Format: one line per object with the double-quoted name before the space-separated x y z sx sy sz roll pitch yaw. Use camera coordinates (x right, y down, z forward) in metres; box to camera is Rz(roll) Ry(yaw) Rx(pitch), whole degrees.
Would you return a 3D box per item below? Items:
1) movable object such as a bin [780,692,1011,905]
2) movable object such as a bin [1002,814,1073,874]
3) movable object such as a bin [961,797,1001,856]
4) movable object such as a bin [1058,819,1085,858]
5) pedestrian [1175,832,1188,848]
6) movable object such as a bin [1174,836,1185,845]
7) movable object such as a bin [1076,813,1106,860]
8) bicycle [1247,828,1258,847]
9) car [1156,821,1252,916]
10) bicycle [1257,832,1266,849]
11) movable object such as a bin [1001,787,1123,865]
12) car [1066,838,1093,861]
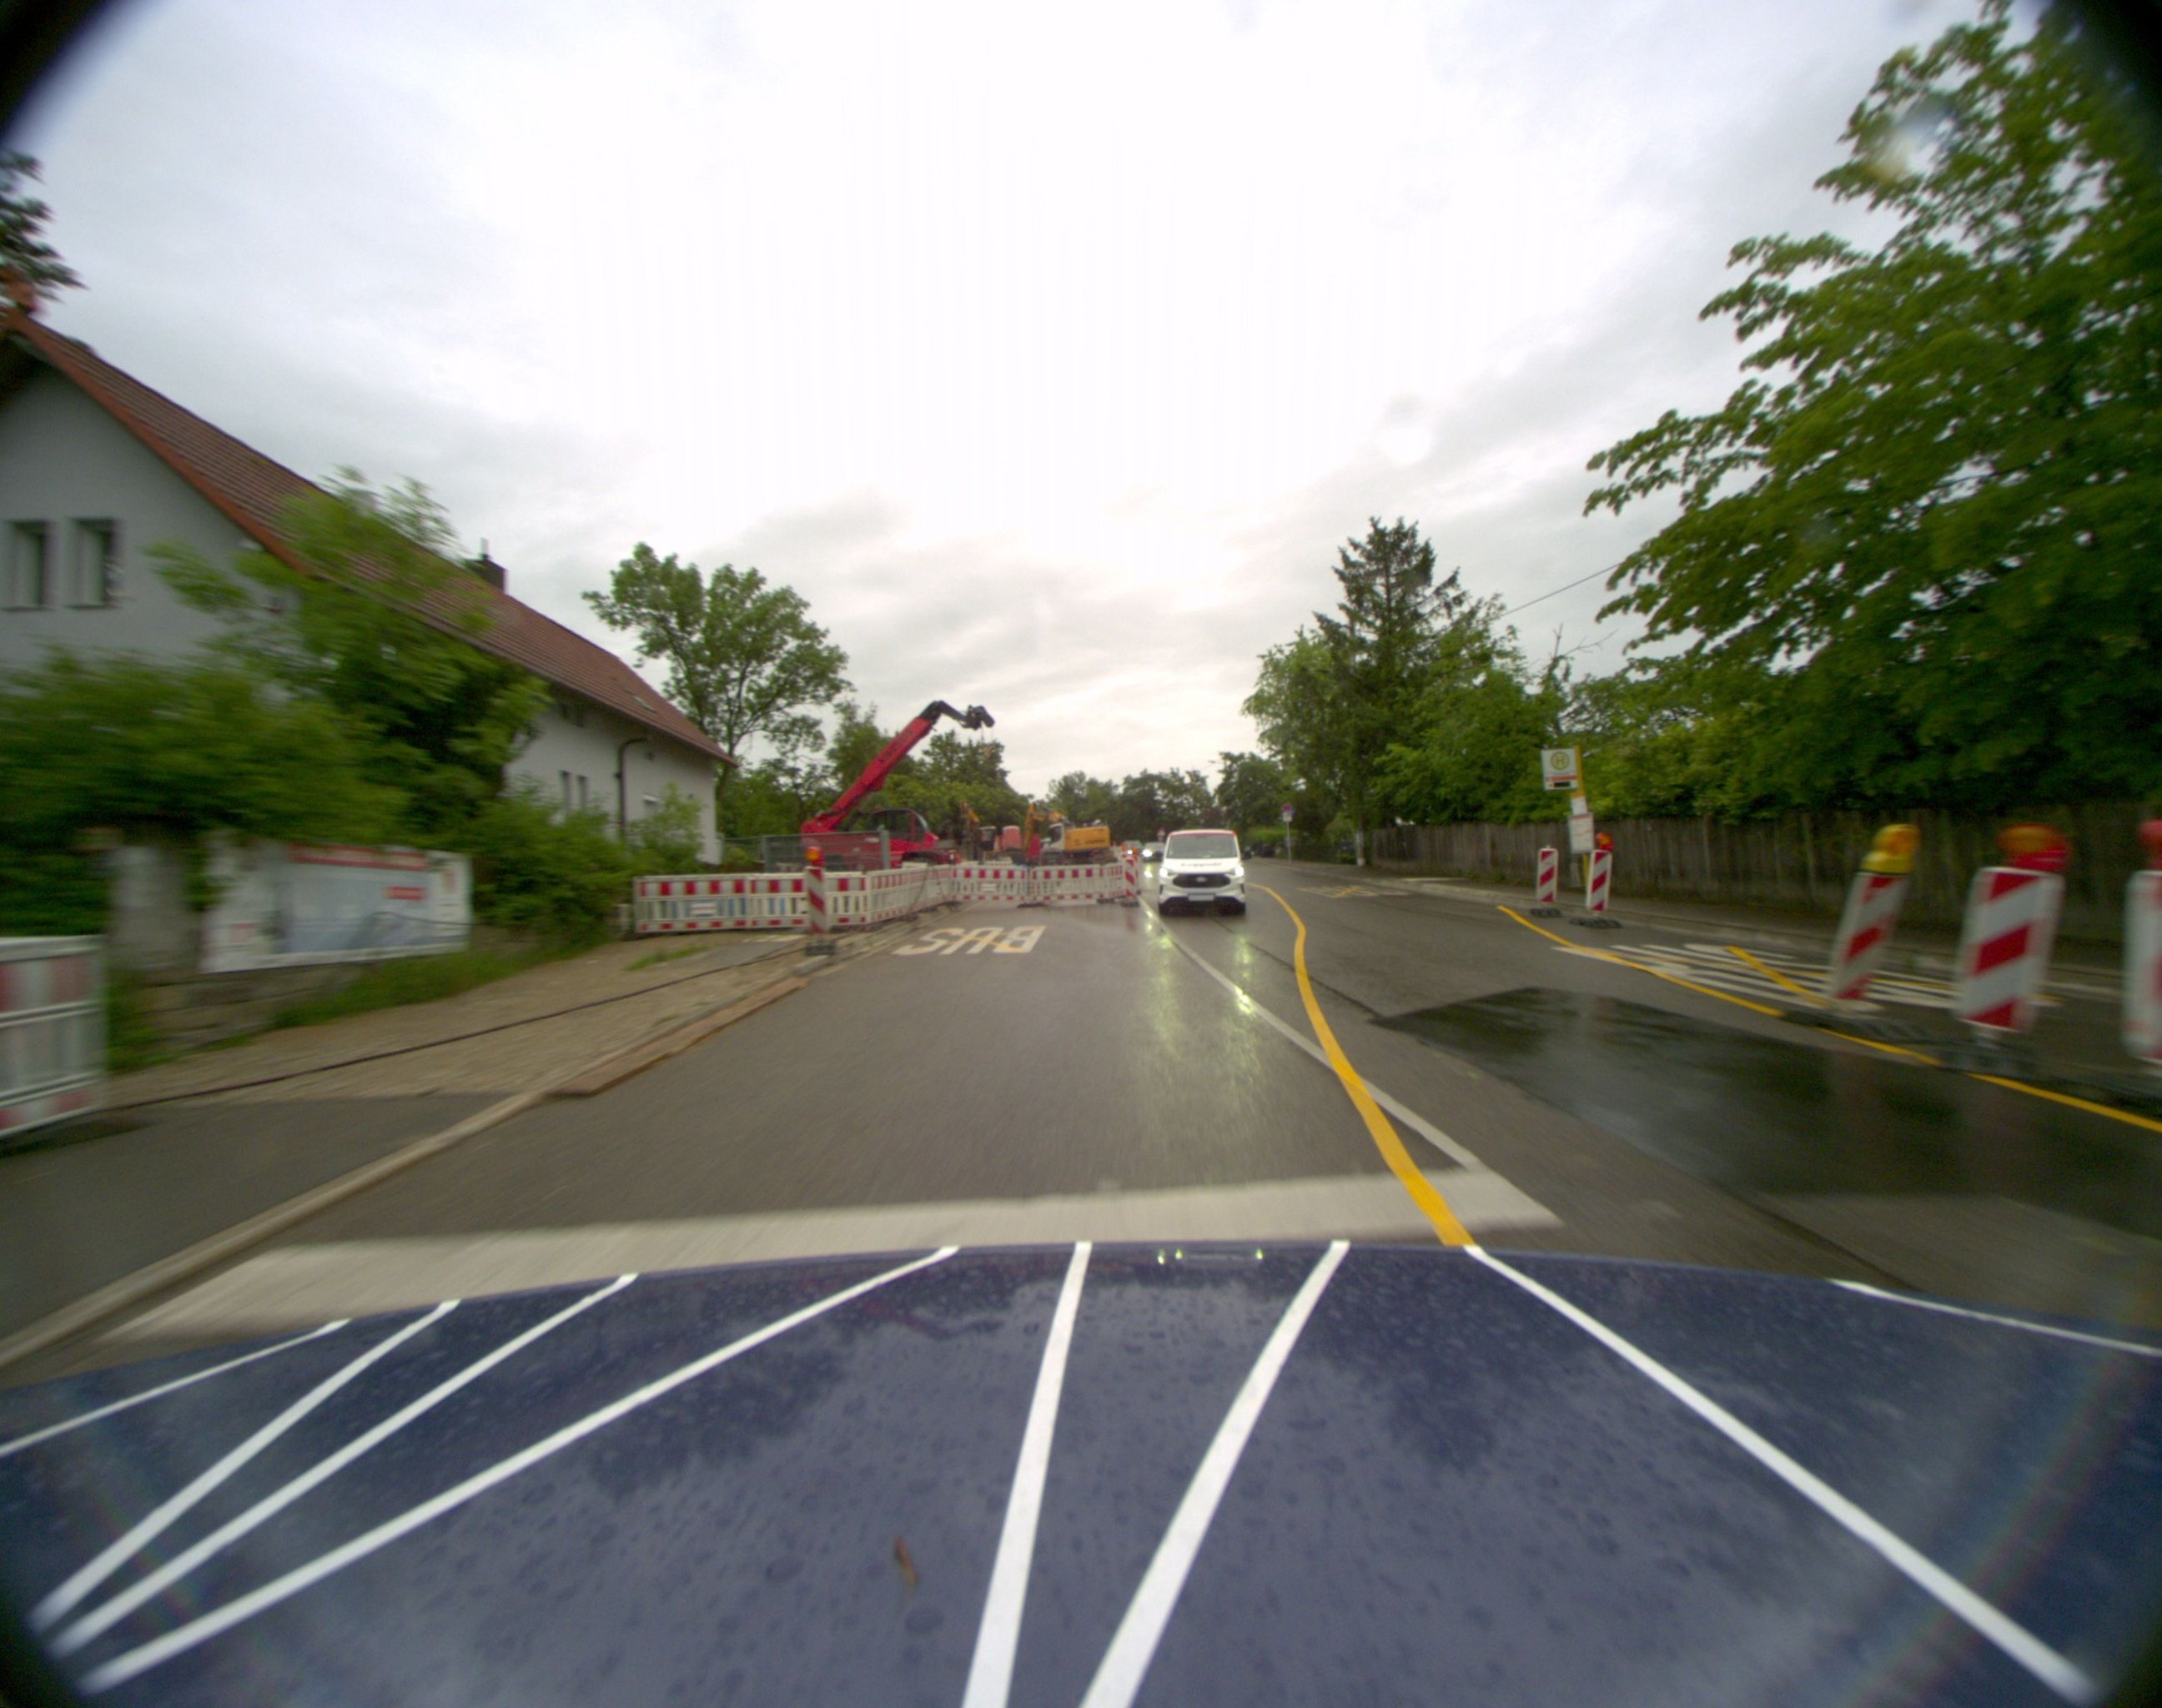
"movable object such as a bin" -6.201 -1.852 26.533 6.968 6.652 3.044 -3 2 -2
"movable object such as a bin" -2.706 -0.574 46.657 3.999 3.183 2.408 -4 -4 -7
"movable object such as a bin" -6.986 -1.918 53.759 1.998 3.867 4.616 -3 1 0
"movable object such as a bin" -1.006 -1.443 75.453 2.082 3.205 5.285 -4 -4 -6
"pedestrian" 11.472 -1.642 86.740 0.927 1.757 0.978 -3 1 -27
"movable object such as a bin" 11.699 -1.601 90.459 0.990 1.100 1.026 -2 0 -17
"movable object such as a bin" 0.724 -1.362 57.608 1.999 3.288 3.832 -3 4 -2
"bicycle" 12.922 -1.238 57.299 0.421 1.342 1.742 -3 3 2
"car" 3.086 0.297 18.771 1.997 2.002 4.953 1 0 10
"bicycle" 12.816 -0.965 54.014 0.339 1.101 1.255 -3 3 2
"movable object such as a bin" -1.611 -1.990 53.713 3.071 4.893 10.789 -6 5 -34
"car" -0.048 -0.462 65.253 1.998 1.769 4.997 -3 1 3
